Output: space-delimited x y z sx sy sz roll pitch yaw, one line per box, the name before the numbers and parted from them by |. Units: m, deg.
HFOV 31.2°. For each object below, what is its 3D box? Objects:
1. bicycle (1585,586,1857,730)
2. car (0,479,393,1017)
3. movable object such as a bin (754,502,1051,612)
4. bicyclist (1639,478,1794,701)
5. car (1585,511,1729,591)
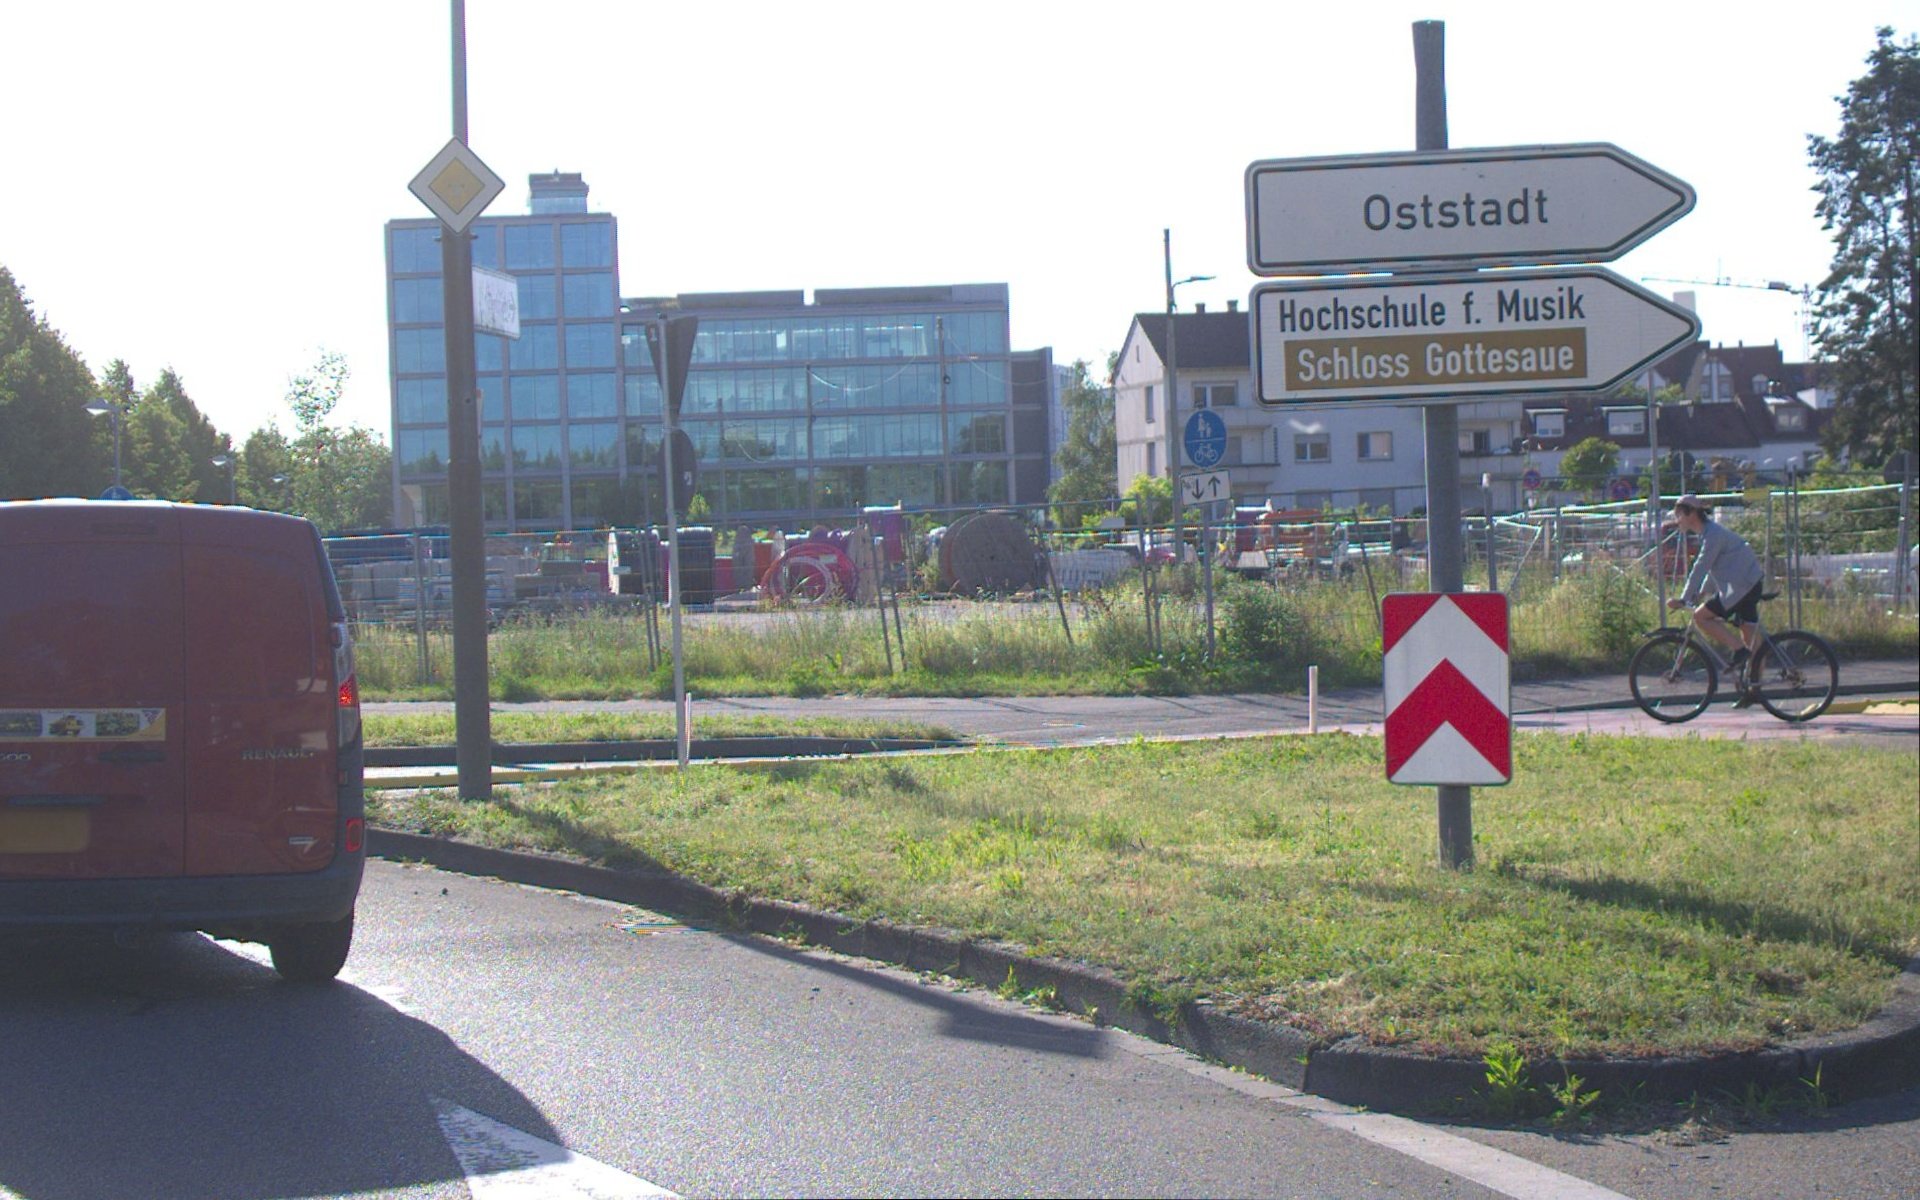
bicycle | 5.952 0.432 26.965 0.740 1.024 2.009 -5 4 -40
car | -3.645 0.488 13.469 1.802 1.807 3.810 0 0 -26
movable object such as a bin | -1.637 -1.212 94.629 7.905 2.773 2.944 -2 1 -5
bicyclist | 5.923 -0.094 26.922 0.740 1.674 0.854 -5 4 -40
car | 17.969 -1.274 88.853 1.993 2.007 4.500 0 1 -12
